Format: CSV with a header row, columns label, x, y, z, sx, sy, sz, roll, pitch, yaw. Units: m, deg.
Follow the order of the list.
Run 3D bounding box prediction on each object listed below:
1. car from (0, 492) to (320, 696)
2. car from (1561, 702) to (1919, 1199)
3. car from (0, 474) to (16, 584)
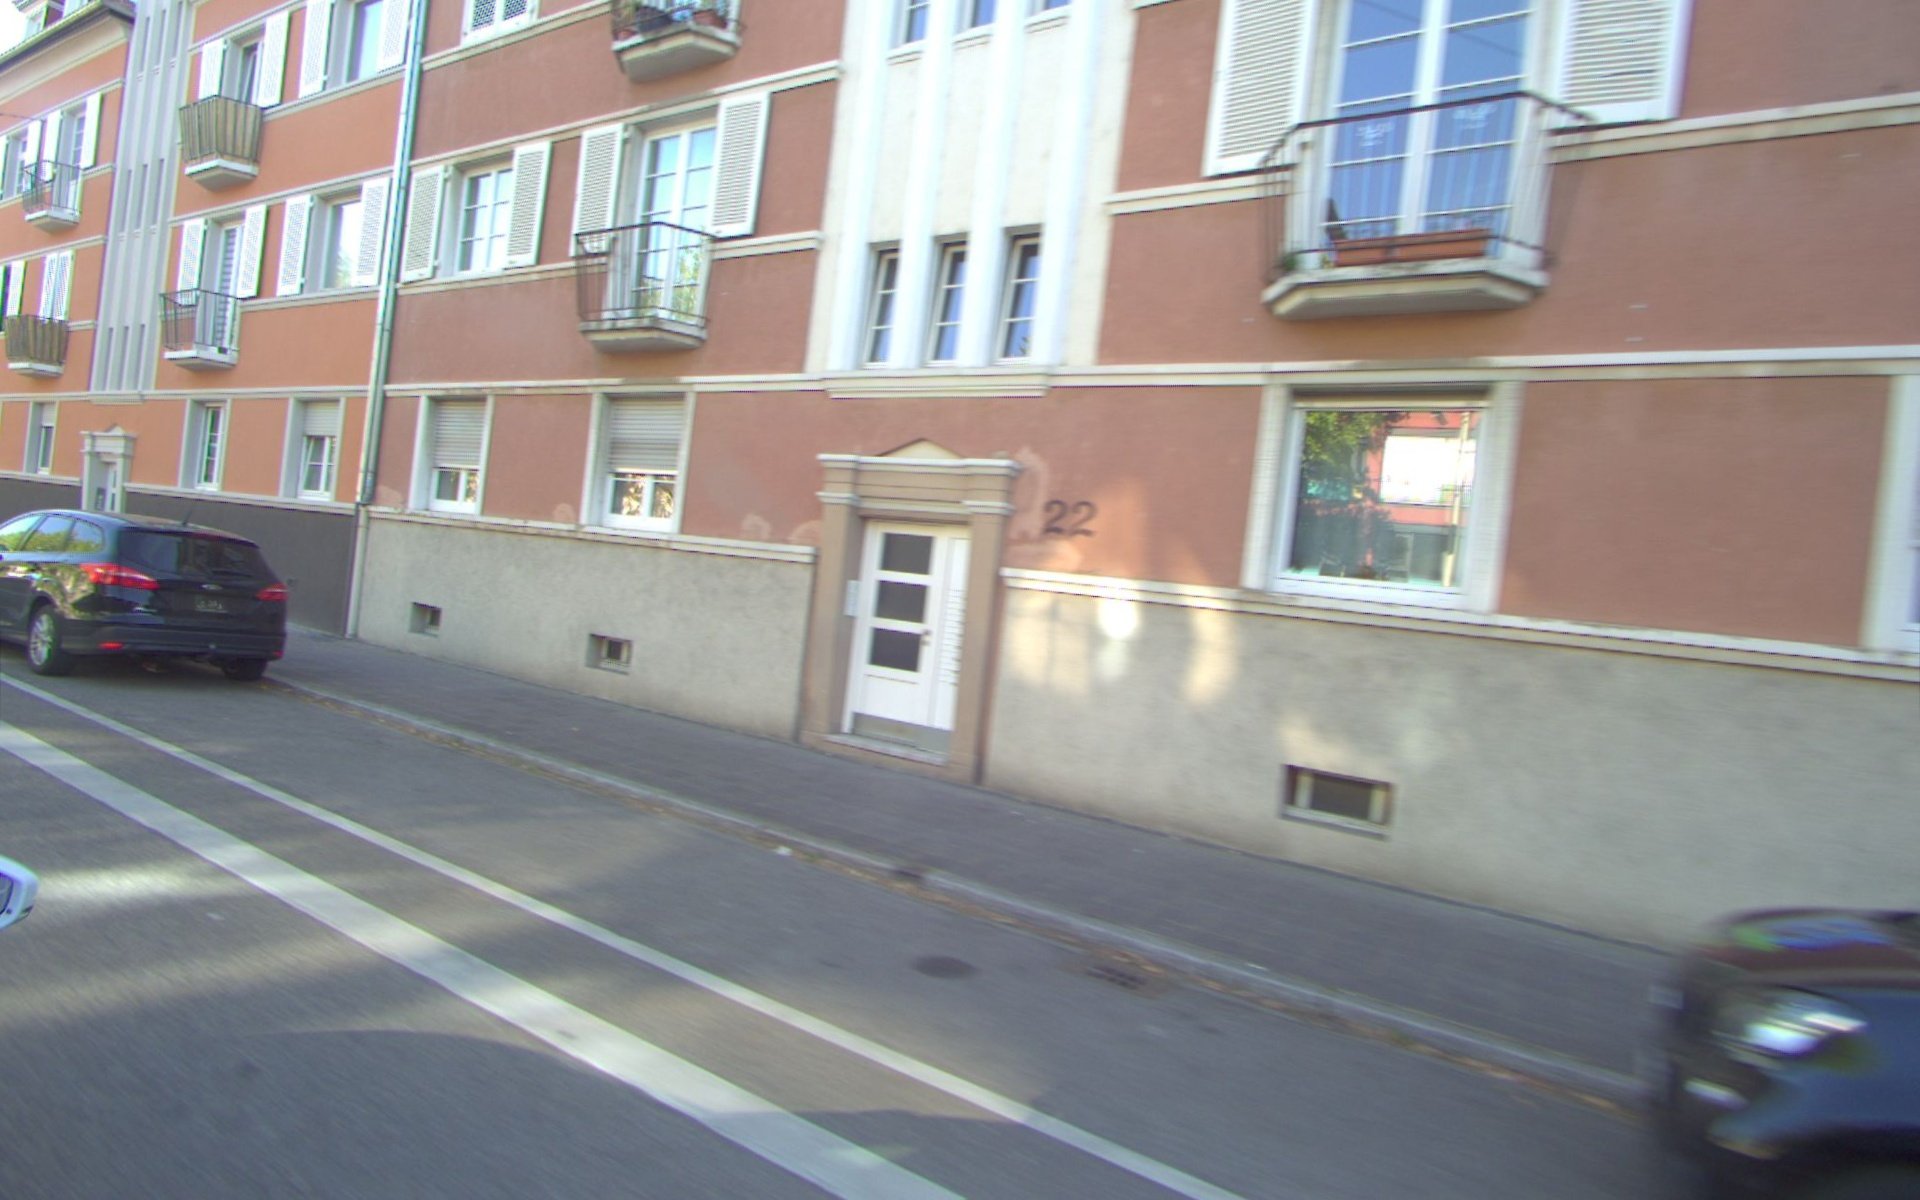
label,x,y,z,sx,sy,sz,roll,pitch,yaw
car,-8.757,-0.168,10.157,4.681,1.528,1.758,7,-2,30
car,3.597,1.301,2.306,3.656,1.528,1.634,7,-2,33
car,-15.737,-1.165,14.605,4.199,1.831,1.707,7,-2,31
